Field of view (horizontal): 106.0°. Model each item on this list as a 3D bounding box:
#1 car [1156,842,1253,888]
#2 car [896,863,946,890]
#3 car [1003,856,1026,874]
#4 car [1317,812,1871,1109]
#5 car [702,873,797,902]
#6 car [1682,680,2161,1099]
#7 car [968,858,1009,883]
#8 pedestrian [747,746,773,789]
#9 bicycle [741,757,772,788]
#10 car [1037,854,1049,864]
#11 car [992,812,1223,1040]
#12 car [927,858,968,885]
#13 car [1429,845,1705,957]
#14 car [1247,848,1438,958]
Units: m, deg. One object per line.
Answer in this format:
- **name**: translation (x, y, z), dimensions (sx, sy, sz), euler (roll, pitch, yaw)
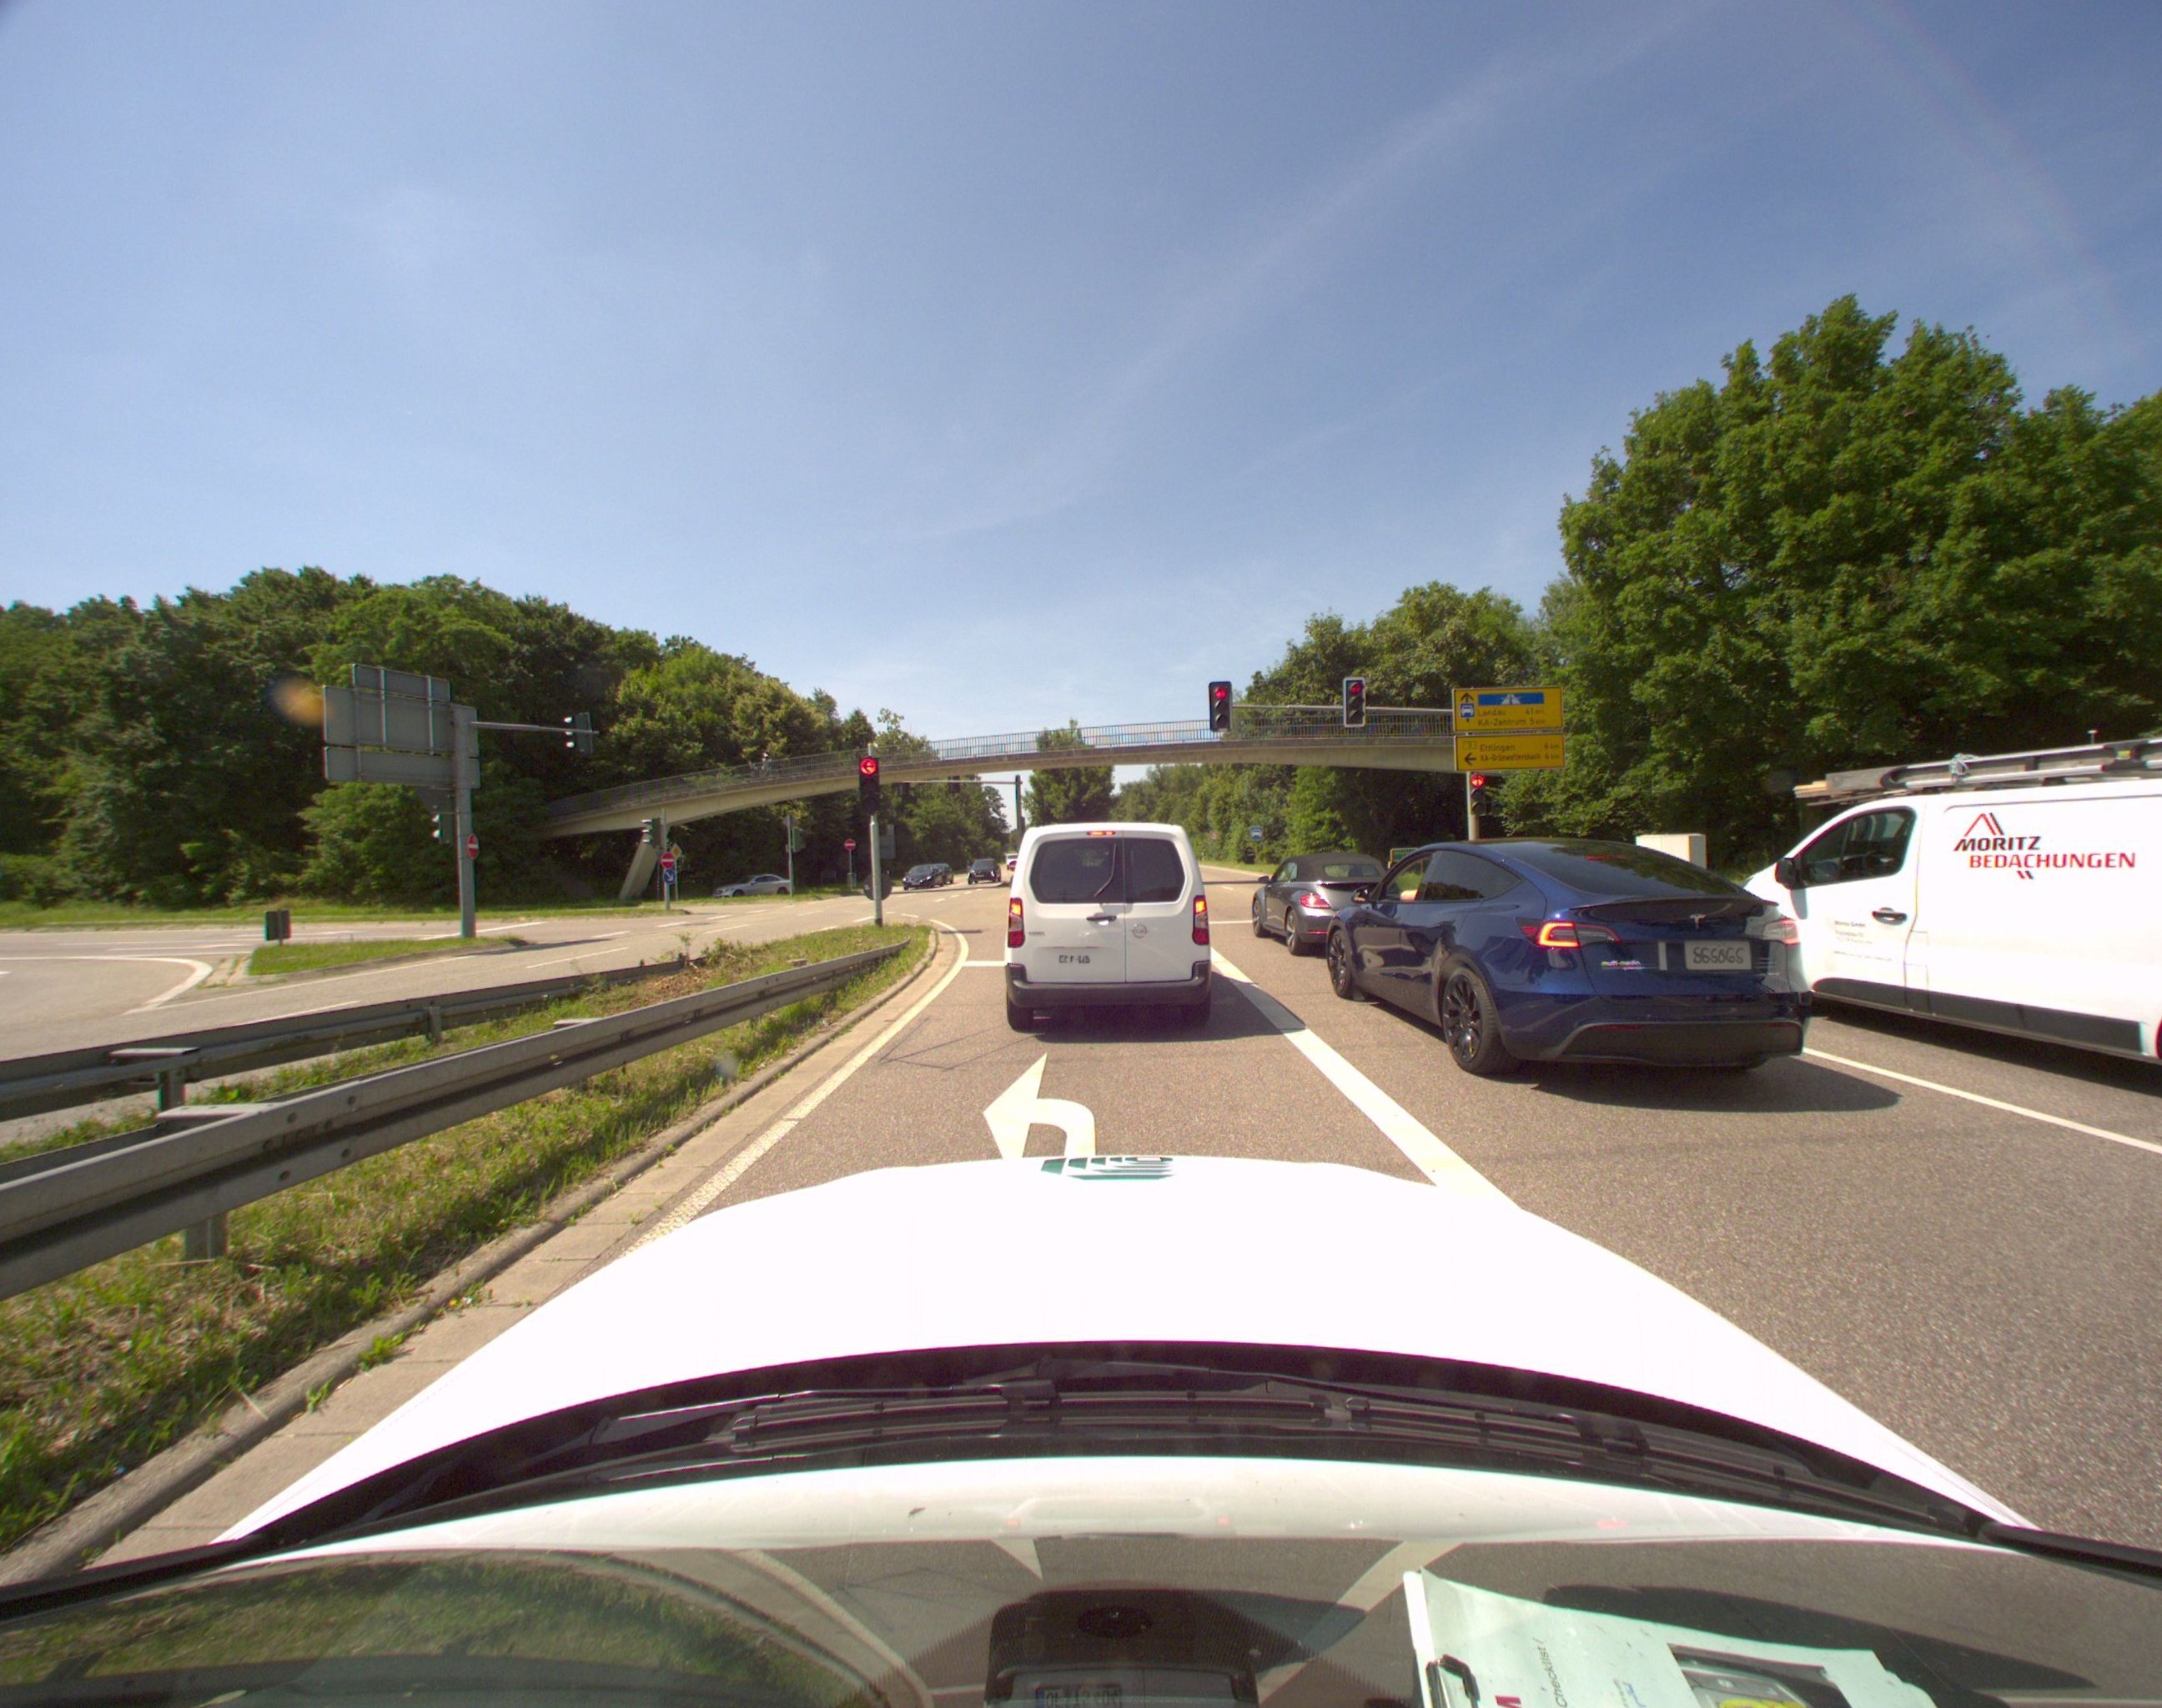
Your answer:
- **car**: translation (5.582, 0.445, 36.198), dimensions (2.022, 1.699, 5.119), euler (-4, 0, 36)
- **car**: translation (-9.653, 1.336, 49.397), dimensions (2.001, 1.460, 4.057), euler (-3, 0, 2)
- **car**: translation (-8.324, 1.354, 102.636), dimensions (2.200, 1.993, 5.490), euler (-3, 0, 2)
- **car**: translation (3.518, 0.593, 6.812), dimensions (1.893, 1.644, 4.522), euler (-1, 0, 2)
- **car**: translation (-19.275, 1.926, 47.568), dimensions (1.974, 1.373, 4.813), euler (-3, 0, 35)
- **car**: translation (7.056, 0.192, 5.768), dimensions (1.925, 2.349, 5.076), euler (-1, 0, 1)
- **car**: translation (-5.868, 1.018, 52.065), dimensions (1.986, 1.523, 4.029), euler (0, 0, 2)
- **pedestrian**: translation (-17.252, -4.657, 43.754), dimensions (0.776, 2.139, 0.936), euler (-4, -2, 17)
- **bicycle**: translation (-17.317, -4.328, 43.487), dimensions (1.514, 1.474, 0.472), euler (-4, -2, 17)
- **car**: translation (-8.529, 1.137, 181.545), dimensions (2.200, 1.993, 4.735), euler (-3, 0, 2)
- **car**: translation (0.246, 0.557, 8.555), dimensions (1.843, 1.825, 3.982), euler (-1, 1, 1)
- **car**: translation (-9.103, 1.154, 55.959), dimensions (1.986, 1.665, 4.002), euler (-3, 0, 2)
- **car**: translation (7.378, 0.618, 12.982), dimensions (1.893, 1.478, 4.382), euler (-1, 0, 2)
- **car**: translation (3.947, 0.661, 13.009), dimensions (1.893, 1.478, 3.940), euler (-1, 0, 2)
